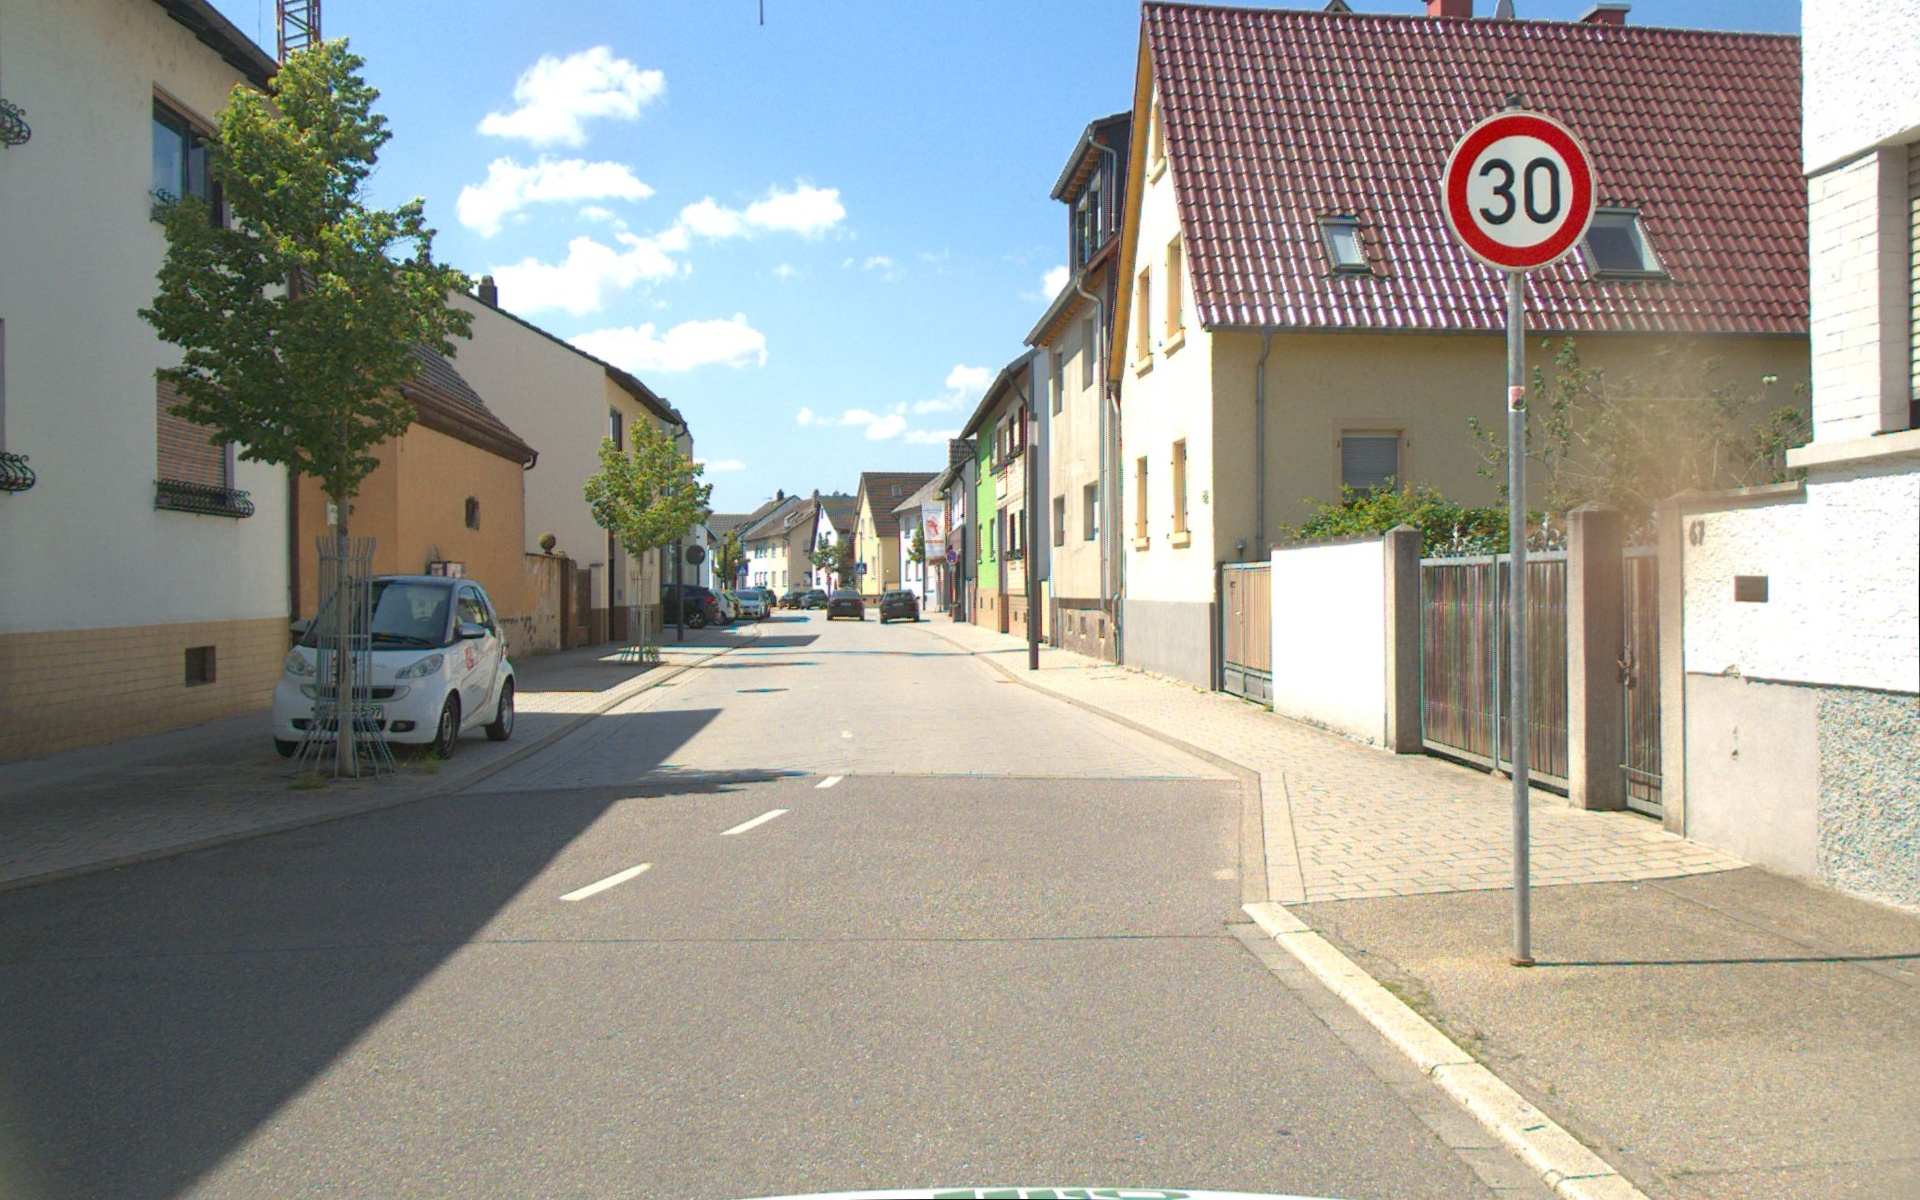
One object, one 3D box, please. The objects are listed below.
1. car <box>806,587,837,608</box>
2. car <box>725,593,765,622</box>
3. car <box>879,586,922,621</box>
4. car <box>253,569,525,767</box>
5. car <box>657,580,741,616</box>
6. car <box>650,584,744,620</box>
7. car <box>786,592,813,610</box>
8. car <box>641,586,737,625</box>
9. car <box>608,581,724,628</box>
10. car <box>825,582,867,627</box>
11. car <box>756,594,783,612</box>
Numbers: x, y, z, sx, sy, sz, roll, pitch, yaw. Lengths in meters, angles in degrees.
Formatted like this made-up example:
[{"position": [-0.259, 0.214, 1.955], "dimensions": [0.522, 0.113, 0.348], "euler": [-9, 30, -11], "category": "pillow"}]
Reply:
[{"position": [-11.070, -0.188, 131.847], "dimensions": [1.816, 1.590, 3.678], "euler": [-1, 1, -15], "category": "car"}, {"position": [-10.937, 0.365, 84.301], "dimensions": [1.723, 1.435, 3.875], "euler": [1, 0, -4], "category": "car"}, {"position": [-2.716, 0.147, 75.786], "dimensions": [1.821, 1.484, 4.584], "euler": [-3, 0, -2], "category": "car"}, {"position": [-5.079, 0.554, 15.054], "dimensions": [1.541, 1.588, 2.821], "euler": [2, 0, -2], "category": "car"}, {"position": [-11.978, -0.089, 76.188], "dimensions": [3.618, 1.552, 1.671], "euler": [2, 0, -3], "category": "car"}, {"position": [-11.640, 0.083, 73.311], "dimensions": [3.908, 1.467, 1.690], "euler": [2, 0, -4], "category": "car"}, {"position": [-13.525, 0.071, 139.403], "dimensions": [1.683, 1.411, 3.690], "euler": [-1, 1, -15], "category": "car"}, {"position": [-11.559, 0.211, 70.663], "dimensions": [3.823, 1.529, 1.750], "euler": [2, 0, -2], "category": "car"}, {"position": [-11.150, 0.168, 63.014], "dimensions": [4.136, 1.687, 1.783], "euler": [1, 0, -5], "category": "car"}, {"position": [-5.591, 0.196, 80.736], "dimensions": [1.954, 2.093, 4.370], "euler": [-1, 1, -4], "category": "car"}, {"position": [-17.554, 0.252, 152.480], "dimensions": [1.847, 1.619, 3.983], "euler": [-1, 1, -15], "category": "car"}]
